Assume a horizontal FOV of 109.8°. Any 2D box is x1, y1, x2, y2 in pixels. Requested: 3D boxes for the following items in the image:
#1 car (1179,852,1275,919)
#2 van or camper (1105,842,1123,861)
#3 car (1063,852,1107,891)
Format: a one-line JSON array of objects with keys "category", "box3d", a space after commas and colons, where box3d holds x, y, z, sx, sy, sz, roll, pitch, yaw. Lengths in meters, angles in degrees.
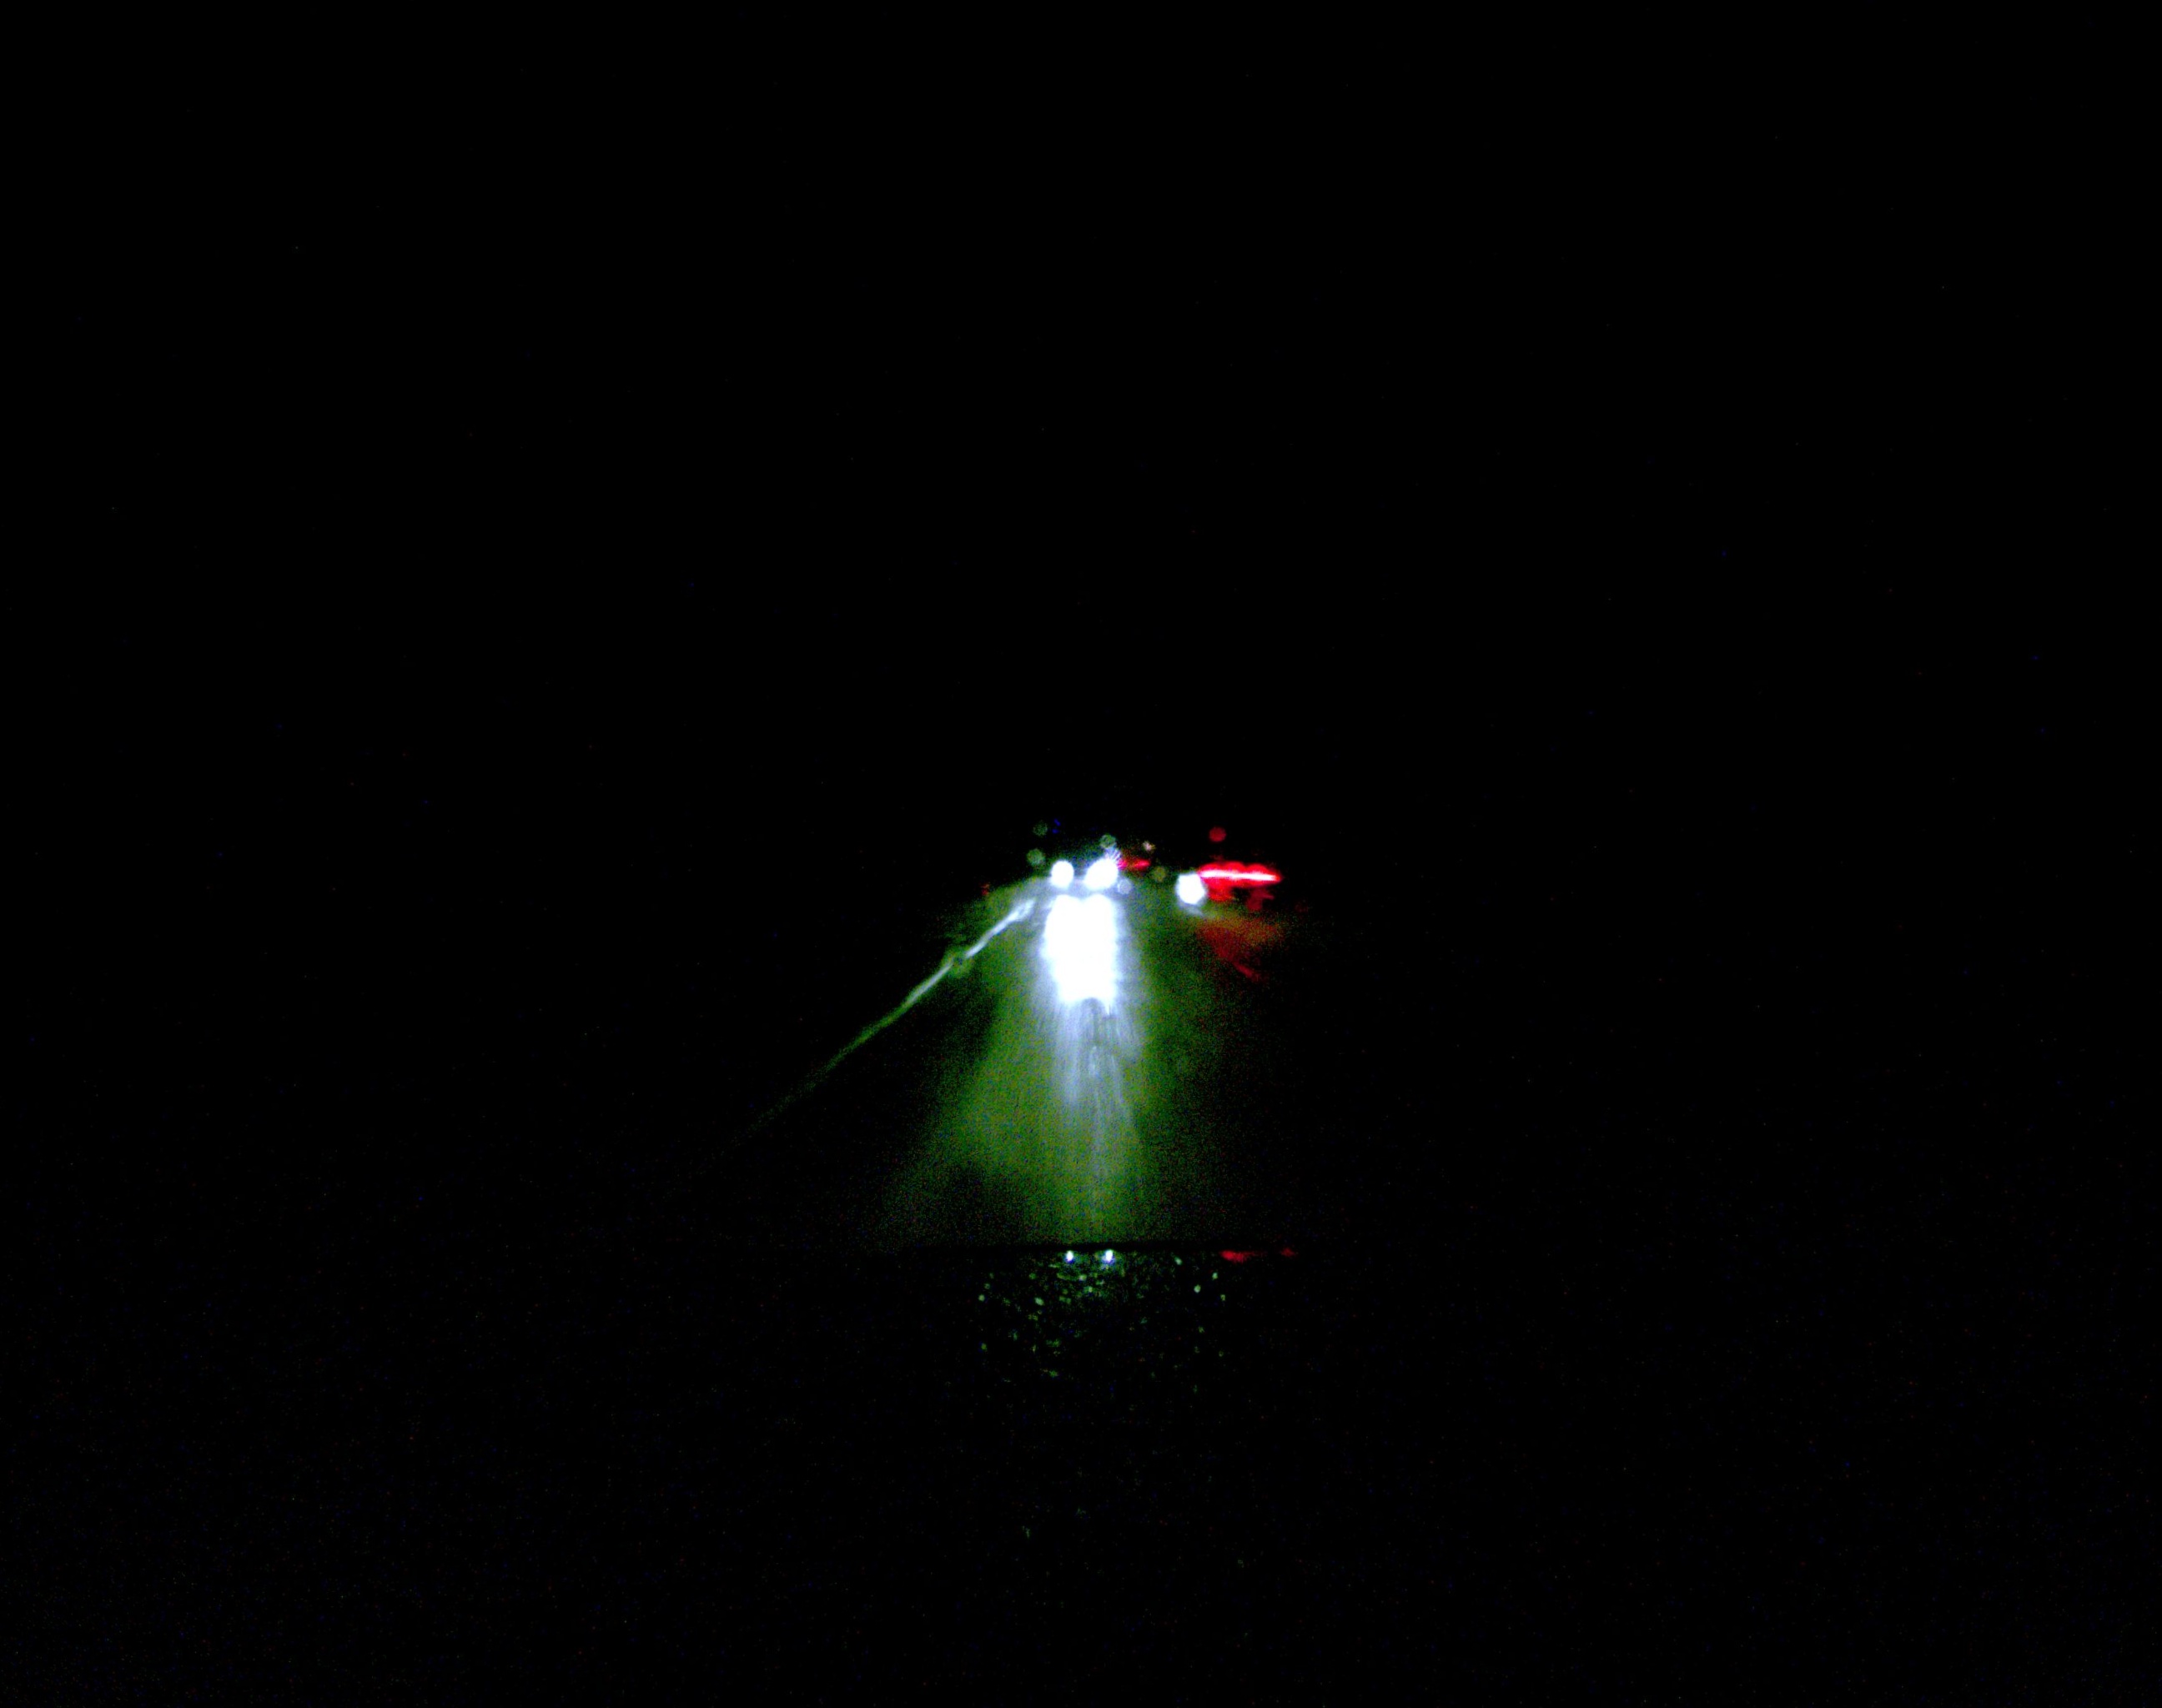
[{"category": "car", "box3d": [3.802, 0.747, 20.499, 1.809, 1.618, 4.406, 0, 0, 1]}, {"category": "van or camper", "box3d": [4.627, -0.393, 106.678, 2.129, 2.551, 5.783, 1, 0, 0]}, {"category": "car", "box3d": [0.178, 0.736, 33.623, 1.793, 1.593, 4.000, 0, 0, 0]}]
